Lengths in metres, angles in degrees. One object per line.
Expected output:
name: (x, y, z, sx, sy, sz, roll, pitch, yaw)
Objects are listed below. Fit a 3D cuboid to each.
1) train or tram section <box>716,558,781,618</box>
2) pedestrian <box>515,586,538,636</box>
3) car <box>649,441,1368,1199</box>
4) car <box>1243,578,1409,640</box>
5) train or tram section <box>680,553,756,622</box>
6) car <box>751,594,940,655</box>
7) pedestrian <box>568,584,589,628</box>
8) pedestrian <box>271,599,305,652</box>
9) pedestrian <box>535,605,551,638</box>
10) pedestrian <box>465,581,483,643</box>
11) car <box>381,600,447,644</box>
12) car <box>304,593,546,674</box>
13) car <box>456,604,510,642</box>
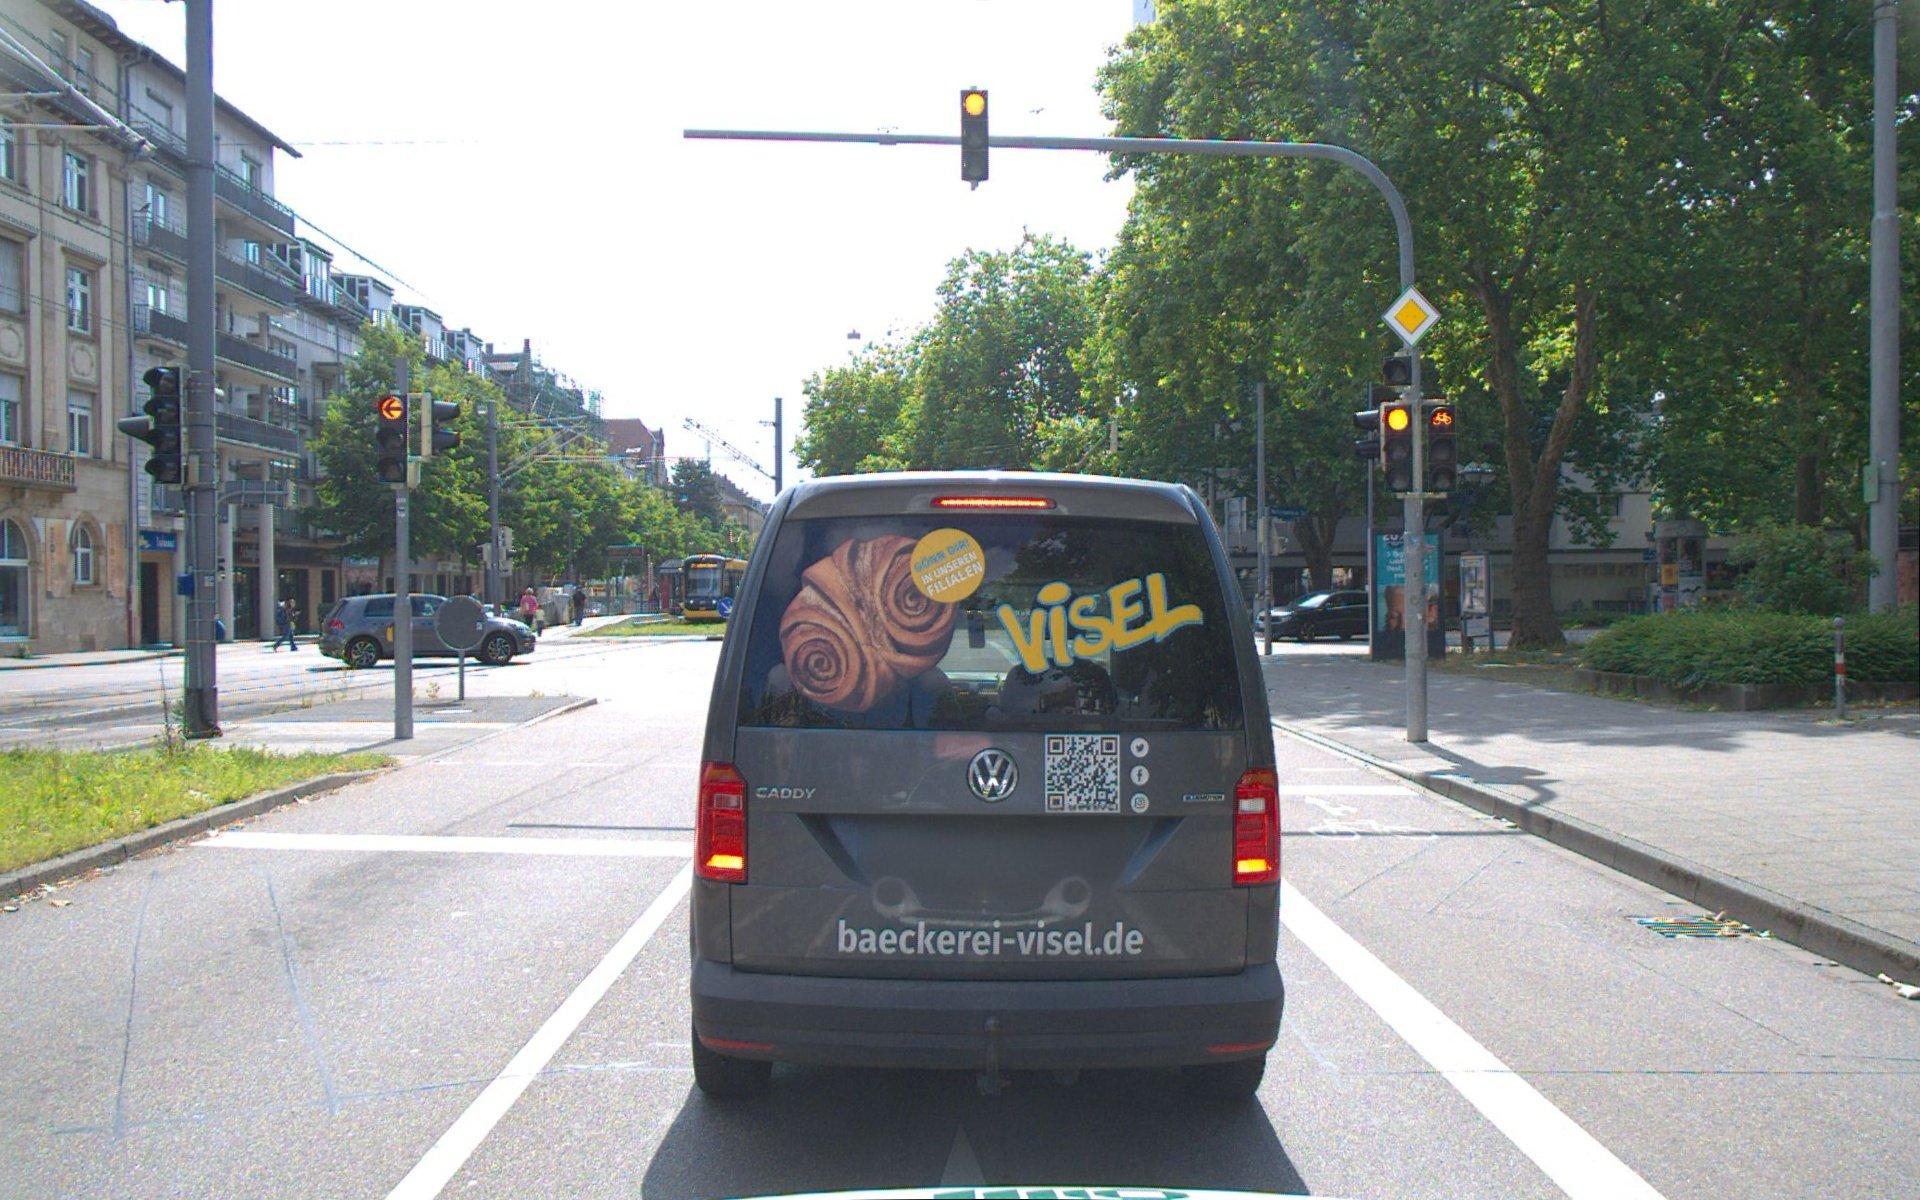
train or tram section: (-12.858, -0.712, 101.596, 2.195, 3.389, 14.012, -1, 0, 0)
pedestrian: (-15.753, 0.399, 60.073, 0.646, 1.815, 0.660, -1, 0, -1)
car: (0.105, 0.535, 5.721, 1.715, 1.840, 3.474, 1, 0, -1)
car: (10.468, 0.234, 47.345, 4.421, 1.629, 1.850, -1, 0, -24)
train or tram section: (-12.763, -0.673, 88.157, 2.195, 3.389, 12.970, -1, 0, 0)
car: (-2.870, 0.587, 41.563, 4.423, 1.414, 1.693, -1, 0, -25)
pedestrian: (-15.262, 0.242, 66.131, 0.646, 1.714, 0.655, -1, 0, -1)
pedestrian: (-21.061, 0.789, 51.808, 0.852, 1.623, 0.685, -1, 0, -35)
pedestrian: (-15.144, 0.781, 60.012, 0.454, 1.164, 0.435, -1, 0, -1)
pedestrian: (-16.295, 0.400, 55.443, 0.468, 2.049, 0.419, -1, 0, -6)
car: (-26.848, 1.059, 81.465, 1.953, 2.049, 3.999, -1, 0, -1)
car: (-10.811, 0.641, 33.432, 4.497, 1.461, 1.693, -1, 0, -25)
car: (-27.184, 1.274, 94.423, 1.953, 2.049, 3.999, -1, 0, -1)
